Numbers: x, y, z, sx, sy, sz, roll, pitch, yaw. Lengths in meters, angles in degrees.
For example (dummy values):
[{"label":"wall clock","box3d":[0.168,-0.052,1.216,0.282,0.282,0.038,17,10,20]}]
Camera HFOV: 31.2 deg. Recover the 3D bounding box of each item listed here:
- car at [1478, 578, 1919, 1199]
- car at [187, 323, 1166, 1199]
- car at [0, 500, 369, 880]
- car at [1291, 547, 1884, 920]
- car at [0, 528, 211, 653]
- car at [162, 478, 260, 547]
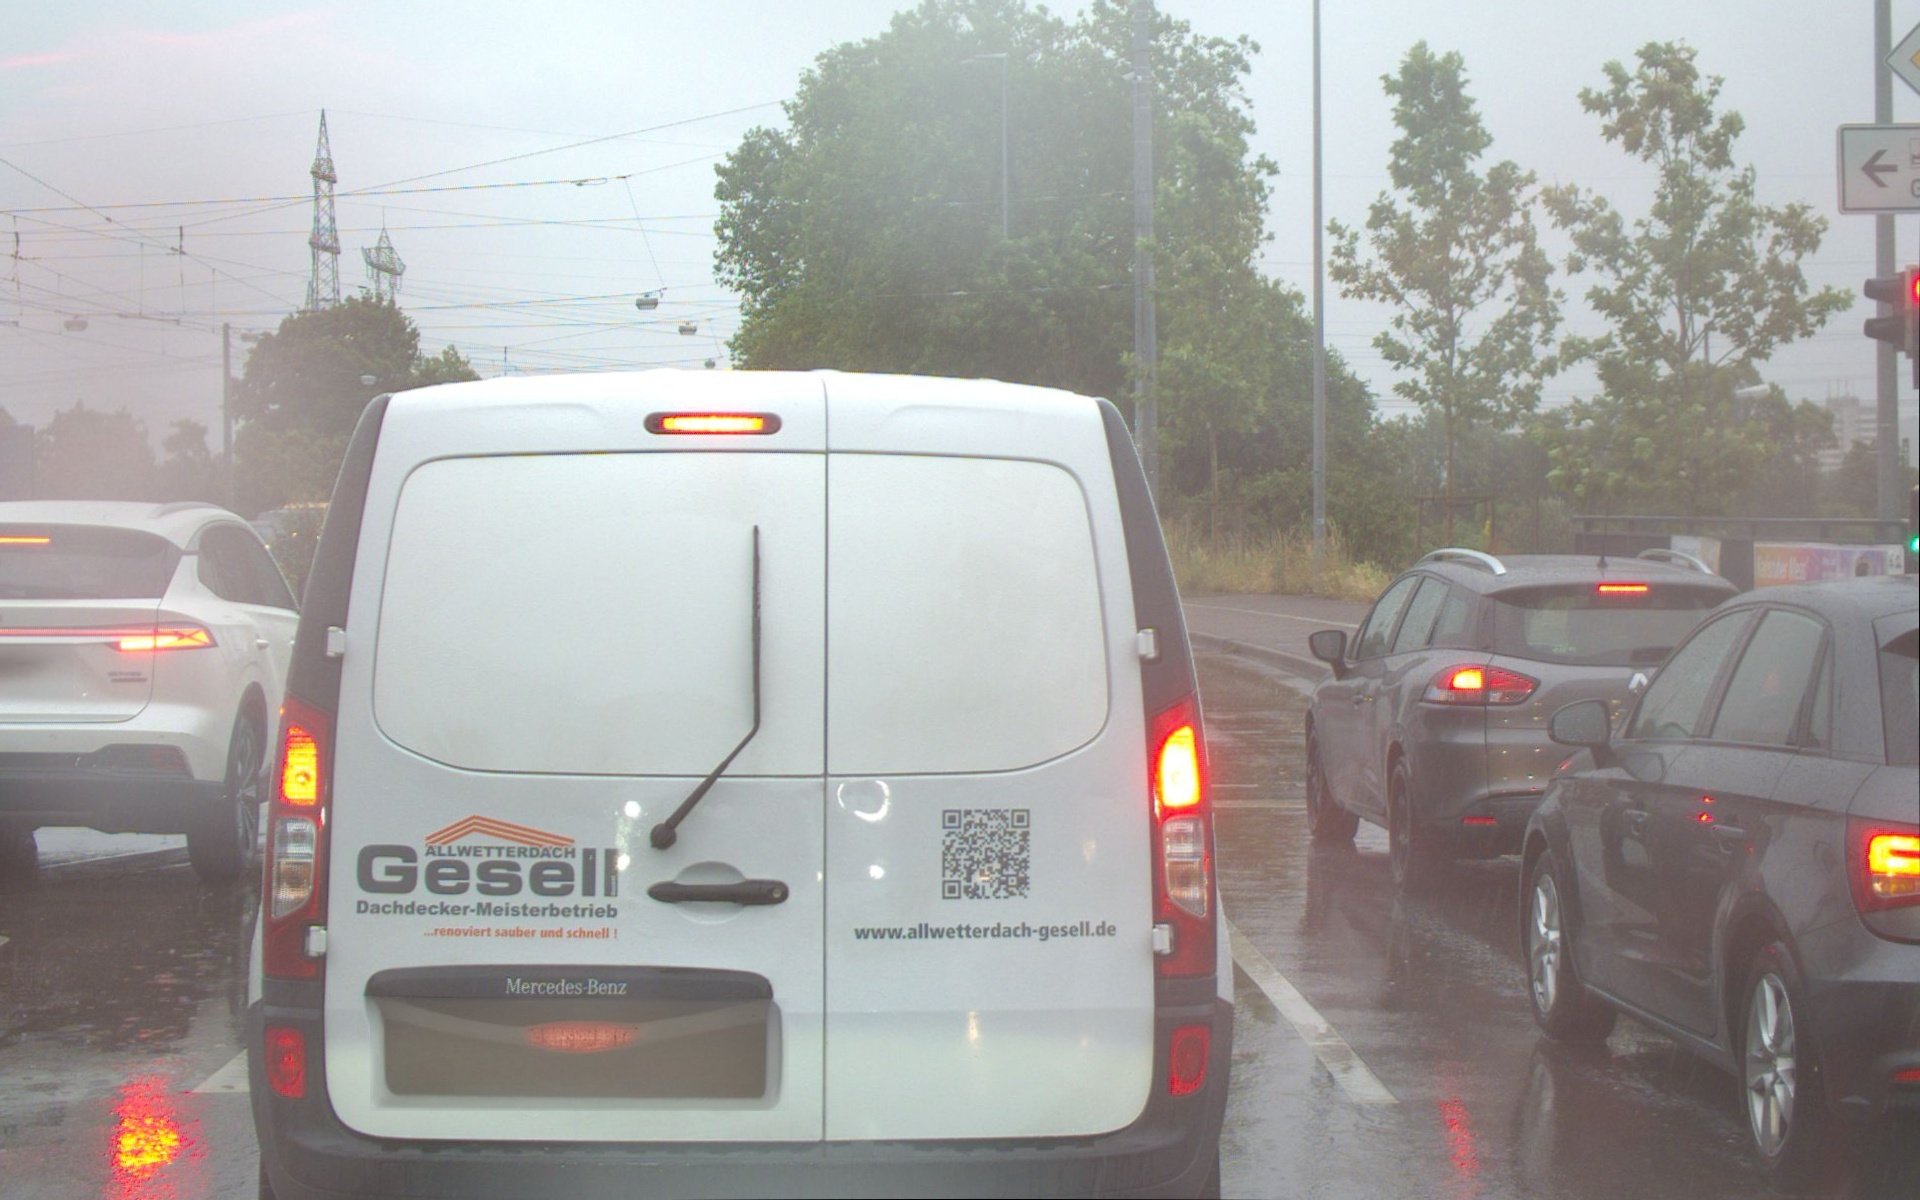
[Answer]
[{"label":"car","box3d":[2.490,0.634,8.930,1.629,1.340,3.624,1,1,-2]},{"label":"car","box3d":[-0.477,0.425,7.524,1.566,1.782,4.000,0,1,-1]},{"label":"car","box3d":[-3.950,0.306,16.081,1.728,1.530,4.298,1,1,-2]},{"label":"car","box3d":[2.673,0.502,15.540,1.859,1.424,3.808,1,1,-2]},{"label":"car","box3d":[-11.314,-0.127,42.846,1.618,1.498,3.707,1,1,37]},{"label":"car","box3d":[-22.642,-2.625,104.061,1.993,2.007,4.000,1,1,1]}]
